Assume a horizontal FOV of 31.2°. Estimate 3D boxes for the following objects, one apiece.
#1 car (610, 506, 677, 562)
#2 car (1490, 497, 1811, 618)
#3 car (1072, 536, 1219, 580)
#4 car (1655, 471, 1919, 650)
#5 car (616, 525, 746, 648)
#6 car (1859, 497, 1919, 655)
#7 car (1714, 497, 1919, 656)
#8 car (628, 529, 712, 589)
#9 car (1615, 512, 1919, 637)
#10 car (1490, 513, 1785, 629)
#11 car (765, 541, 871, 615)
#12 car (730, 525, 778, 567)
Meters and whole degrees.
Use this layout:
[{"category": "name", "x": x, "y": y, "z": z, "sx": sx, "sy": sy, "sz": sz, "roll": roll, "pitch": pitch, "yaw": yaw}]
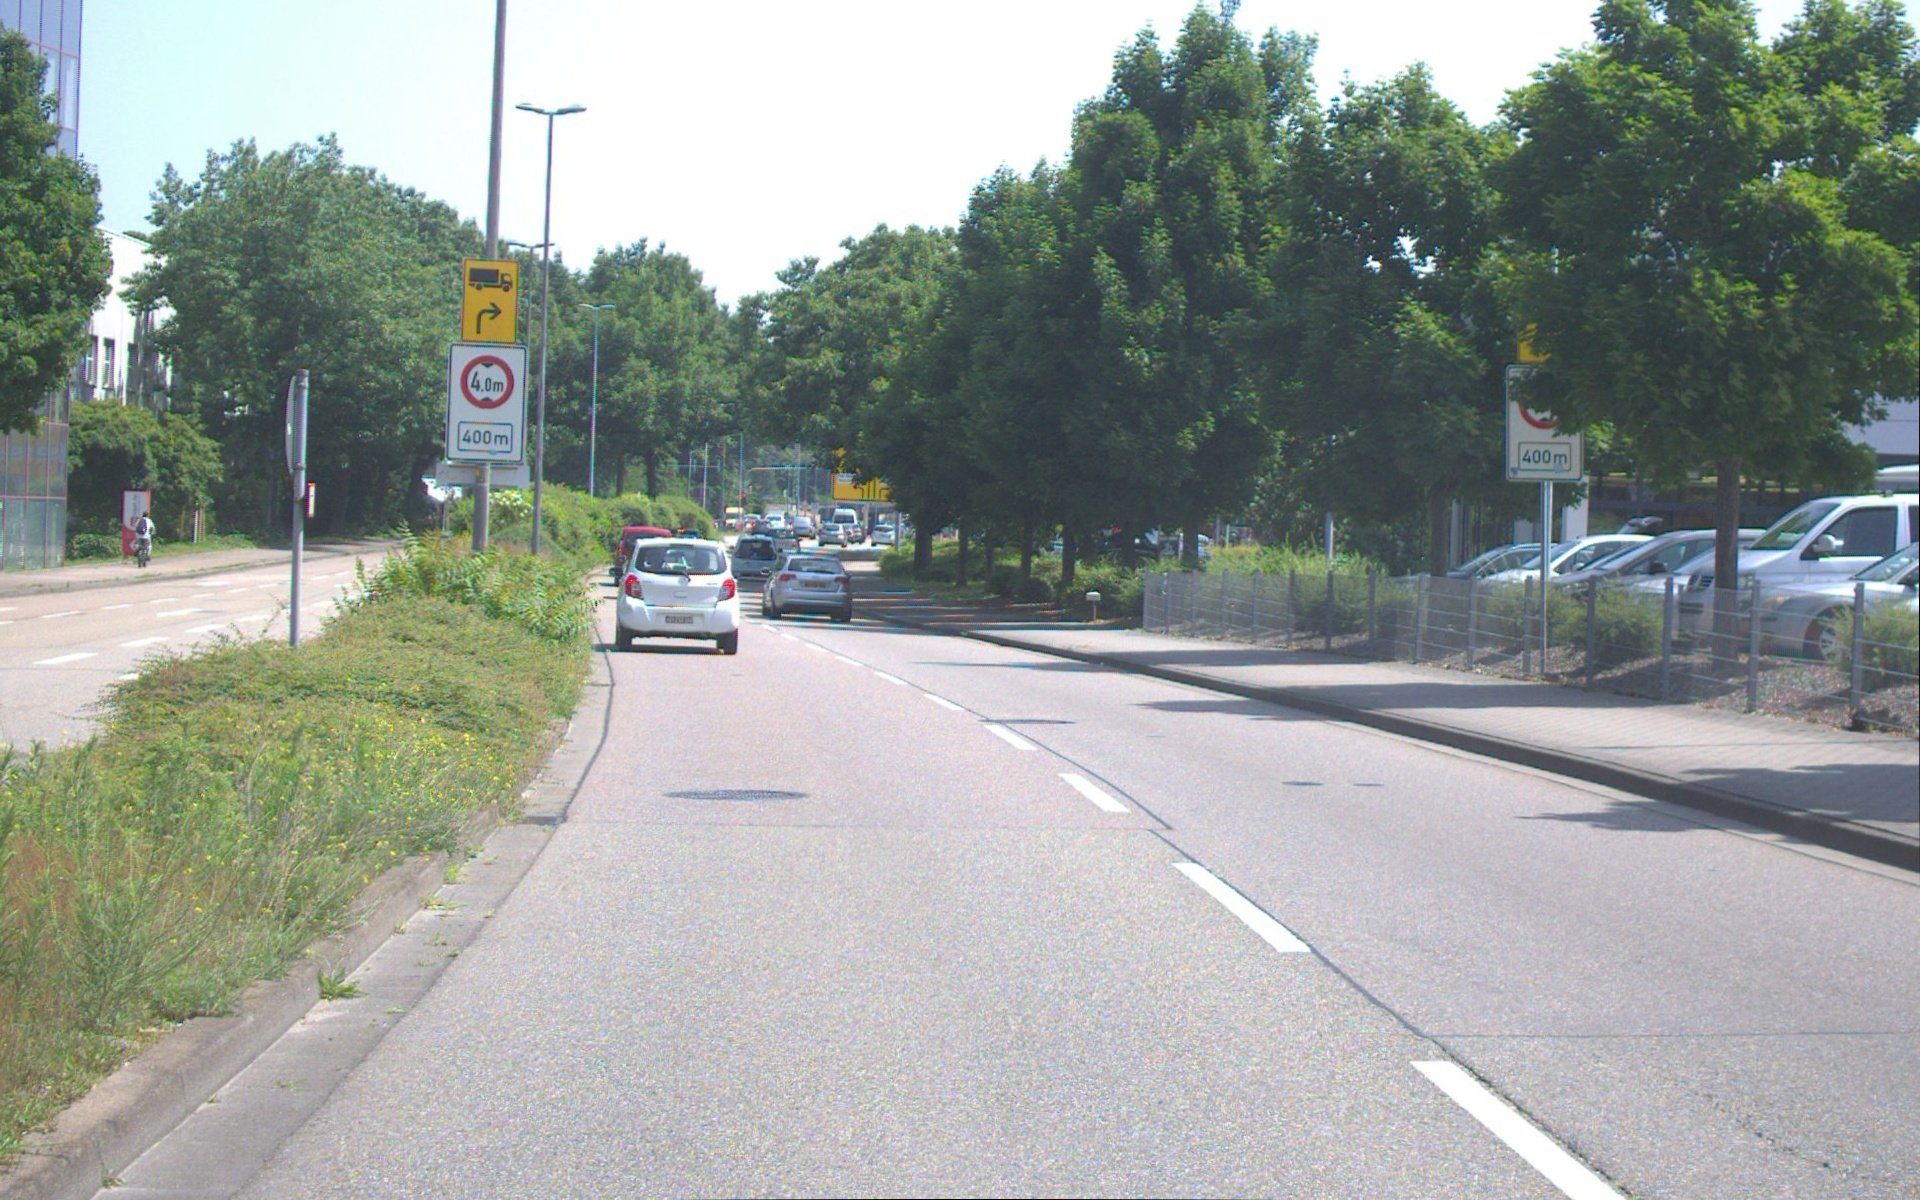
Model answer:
[{"category": "car", "x": -9.323, "y": -1.945, "z": 101.107, "sx": 1.884, "sy": 1.603, "sz": 4.001, "roll": 0, "pitch": 1, "yaw": -6}, {"category": "car", "x": 9.541, "y": -0.582, "z": 47.689, "sx": 3.986, "sy": 1.528, "sz": 1.827, "roll": 2, "pitch": 0, "yaw": -4}, {"category": "car", "x": 5.907, "y": -1.367, "z": 110.081, "sx": 1.947, "sy": 1.347, "sz": 4.714, "roll": -1, "pitch": 2, "yaw": -41}, {"category": "car", "x": 10.453, "y": -0.428, "z": 39.103, "sx": 4.616, "sy": 1.918, "sz": 1.827, "roll": 2, "pitch": 1, "yaw": -4}, {"category": "car", "x": -3.805, "y": -0.214, "z": 46.983, "sx": 1.638, "sy": 1.546, "sz": 3.326, "roll": 3, "pitch": 1, "yaw": -5}, {"category": "car", "x": 10.561, "y": -0.174, "z": 31.729, "sx": 3.995, "sy": 1.416, "sz": 1.698, "roll": 2, "pitch": 1, "yaw": -5}, {"category": "car", "x": 10.374, "y": -0.223, "z": 36.229, "sx": 4.366, "sy": 1.587, "sz": 1.827, "roll": 2, "pitch": 1, "yaw": -2}, {"category": "car", "x": -7.228, "y": -1.035, "z": 85.524, "sx": 1.884, "sy": 1.349, "sz": 4.001, "roll": 3, "pitch": 1, "yaw": -7}, {"category": "car", "x": 10.165, "y": -0.313, "z": 41.704, "sx": 3.986, "sy": 1.385, "sz": 1.827, "roll": 2, "pitch": 1, "yaw": -4}, {"category": "car", "x": 10.353, "y": -0.452, "z": 52.695, "sx": 3.986, "sy": 1.590, "sz": 1.827, "roll": 2, "pitch": 1, "yaw": -8}, {"category": "car", "x": -3.135, "y": -0.500, "z": 75.061, "sx": 1.865, "sy": 1.468, "sz": 4.001, "roll": 3, "pitch": 1, "yaw": -8}, {"category": "car", "x": -6.897, "y": -1.820, "z": 115.037, "sx": 1.441, "sy": 1.343, "sz": 3.461, "roll": 0, "pitch": 1, "yaw": -6}]
